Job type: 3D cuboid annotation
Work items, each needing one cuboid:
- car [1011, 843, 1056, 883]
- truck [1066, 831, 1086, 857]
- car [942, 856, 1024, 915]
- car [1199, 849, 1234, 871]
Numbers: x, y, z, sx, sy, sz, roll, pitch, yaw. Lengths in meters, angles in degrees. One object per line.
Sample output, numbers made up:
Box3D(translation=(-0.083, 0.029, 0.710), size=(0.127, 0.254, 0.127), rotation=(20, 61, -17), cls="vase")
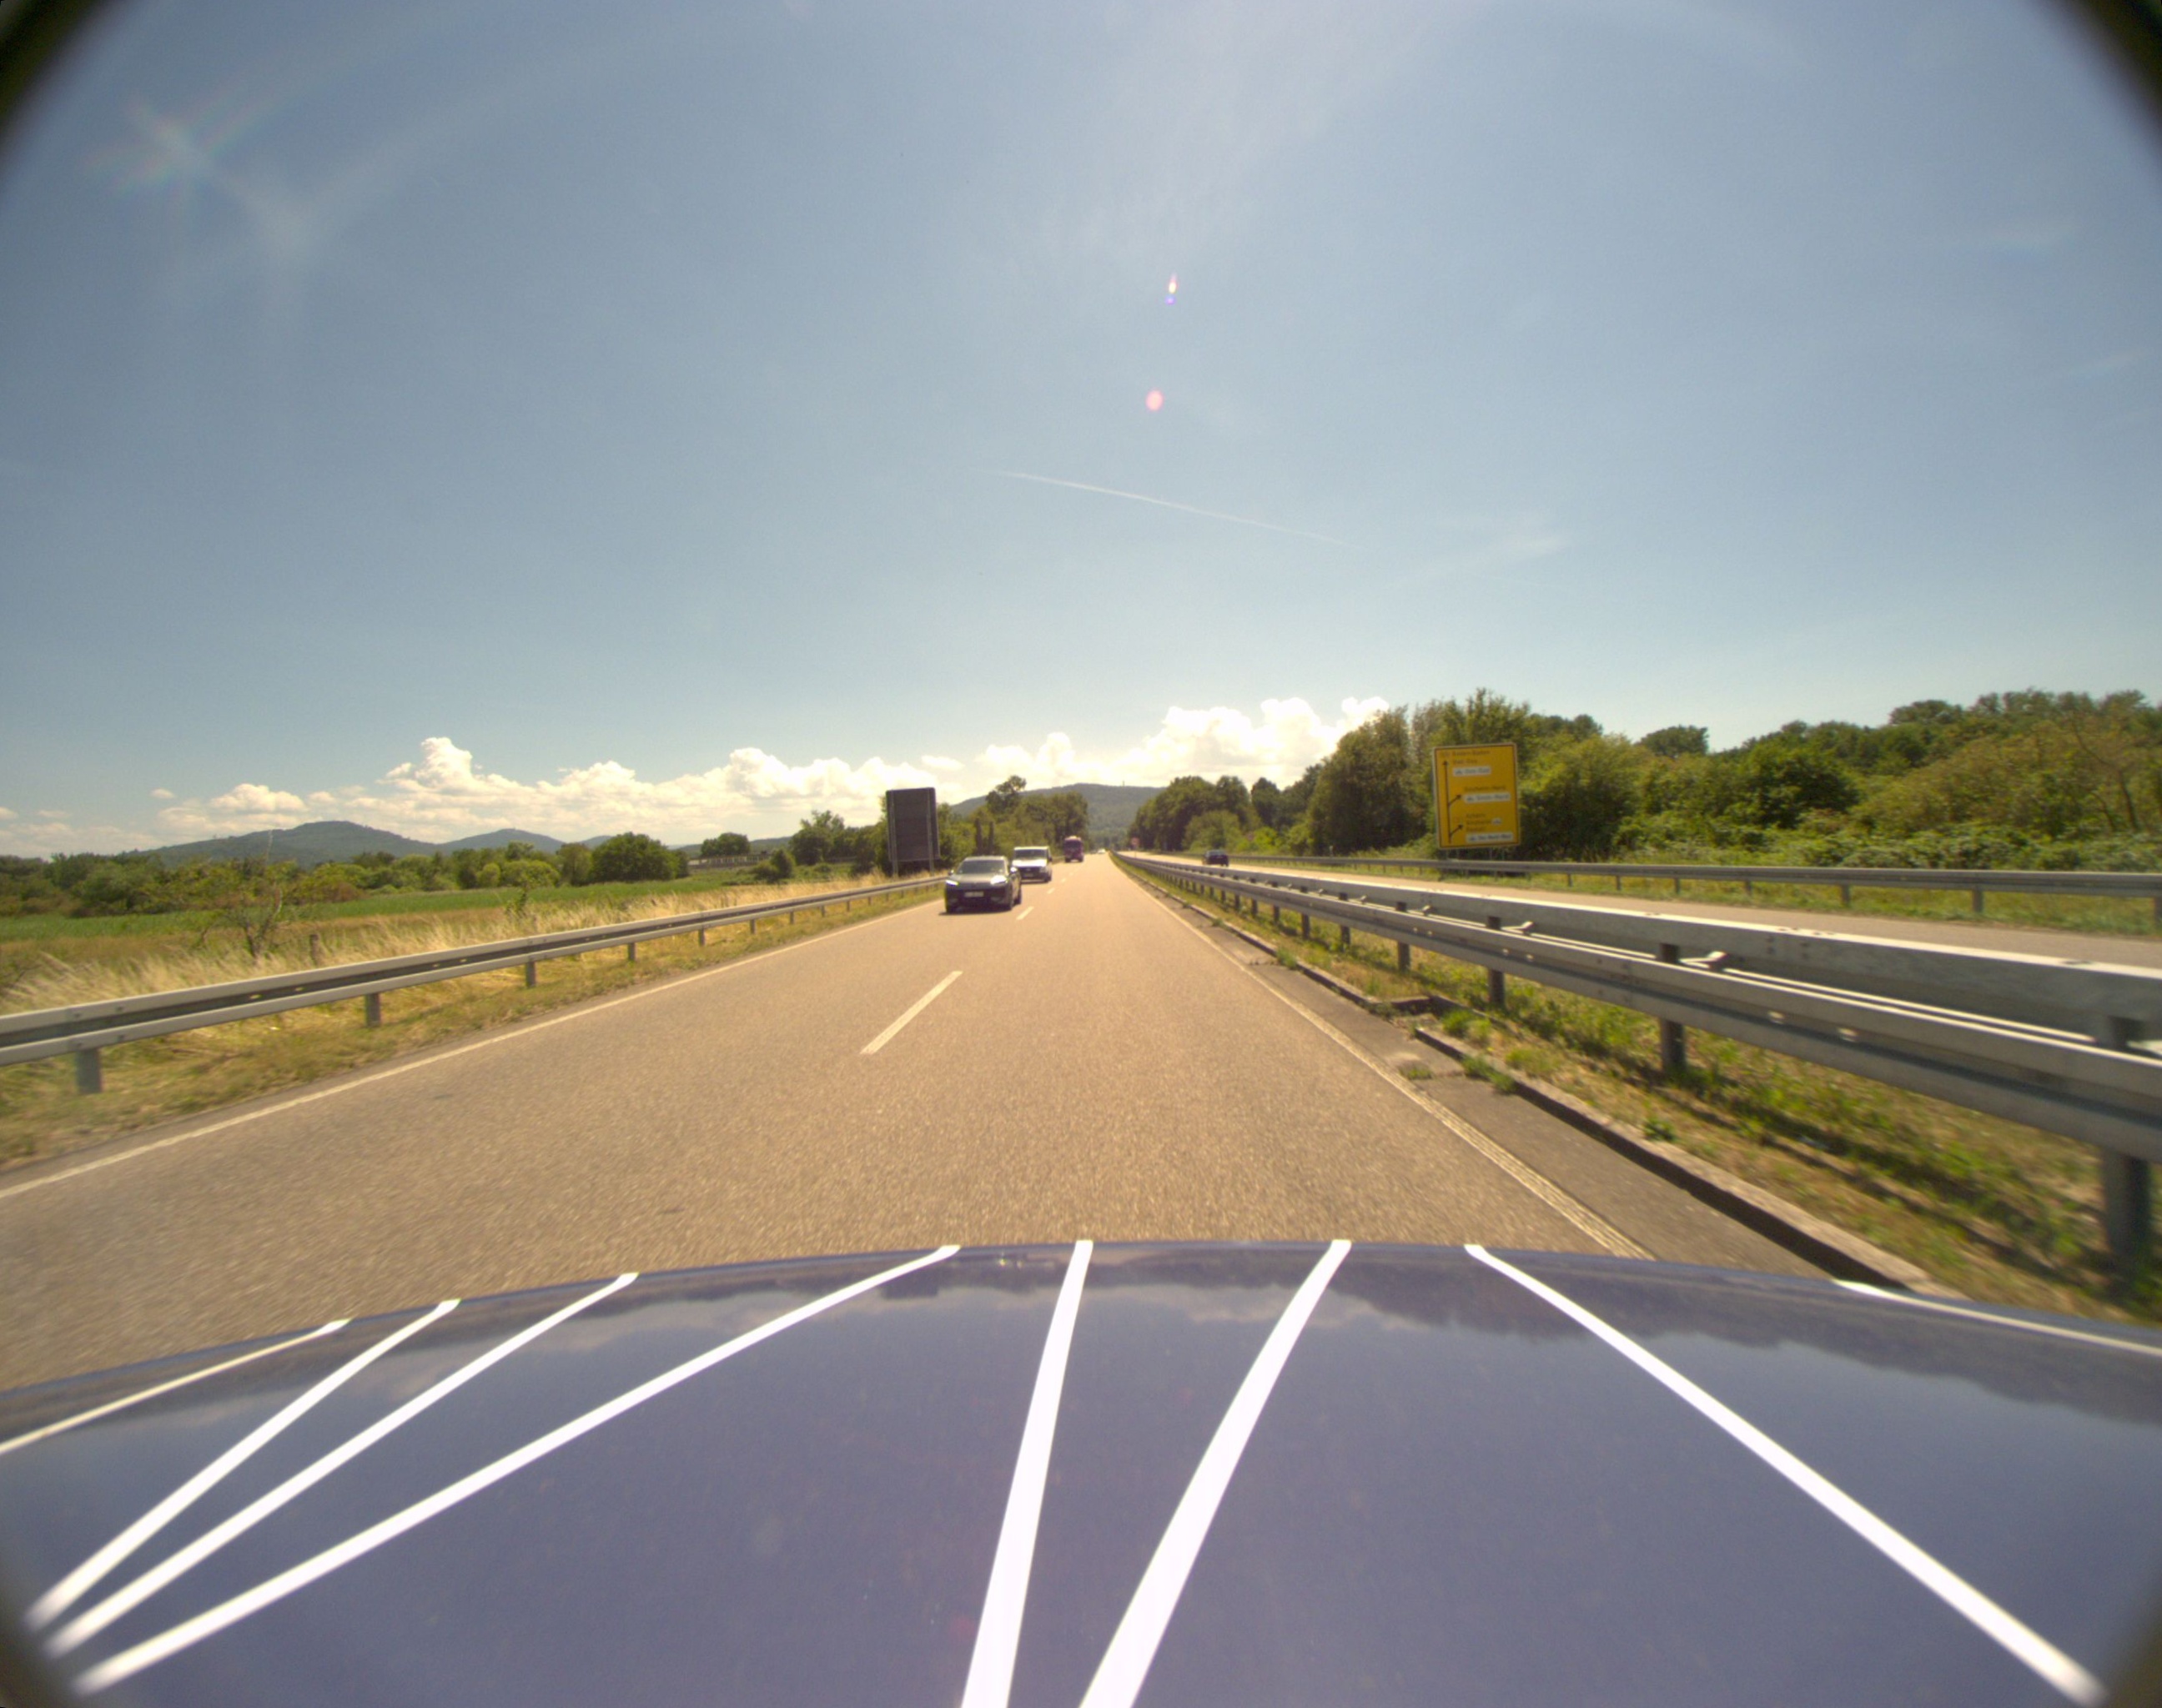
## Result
Box3D(translation=(-2.543, 0.463, 41.956), size=(2.011, 1.977, 5.034), rotation=(-3, 0, 1), cls="car")
Box3D(translation=(-0.736, -1.401, 112.360), size=(2.604, 3.670, 5.940), rotation=(-2, 0, 1), cls="truck")
Box3D(translation=(-2.765, 0.848, 22.283), size=(1.789, 1.544, 4.019), rotation=(-2, 0, 1), cls="car")
Box3D(translation=(11.228, 0.472, 63.120), size=(1.998, 1.627, 4.874), rotation=(-5, 0, 1), cls="car")
